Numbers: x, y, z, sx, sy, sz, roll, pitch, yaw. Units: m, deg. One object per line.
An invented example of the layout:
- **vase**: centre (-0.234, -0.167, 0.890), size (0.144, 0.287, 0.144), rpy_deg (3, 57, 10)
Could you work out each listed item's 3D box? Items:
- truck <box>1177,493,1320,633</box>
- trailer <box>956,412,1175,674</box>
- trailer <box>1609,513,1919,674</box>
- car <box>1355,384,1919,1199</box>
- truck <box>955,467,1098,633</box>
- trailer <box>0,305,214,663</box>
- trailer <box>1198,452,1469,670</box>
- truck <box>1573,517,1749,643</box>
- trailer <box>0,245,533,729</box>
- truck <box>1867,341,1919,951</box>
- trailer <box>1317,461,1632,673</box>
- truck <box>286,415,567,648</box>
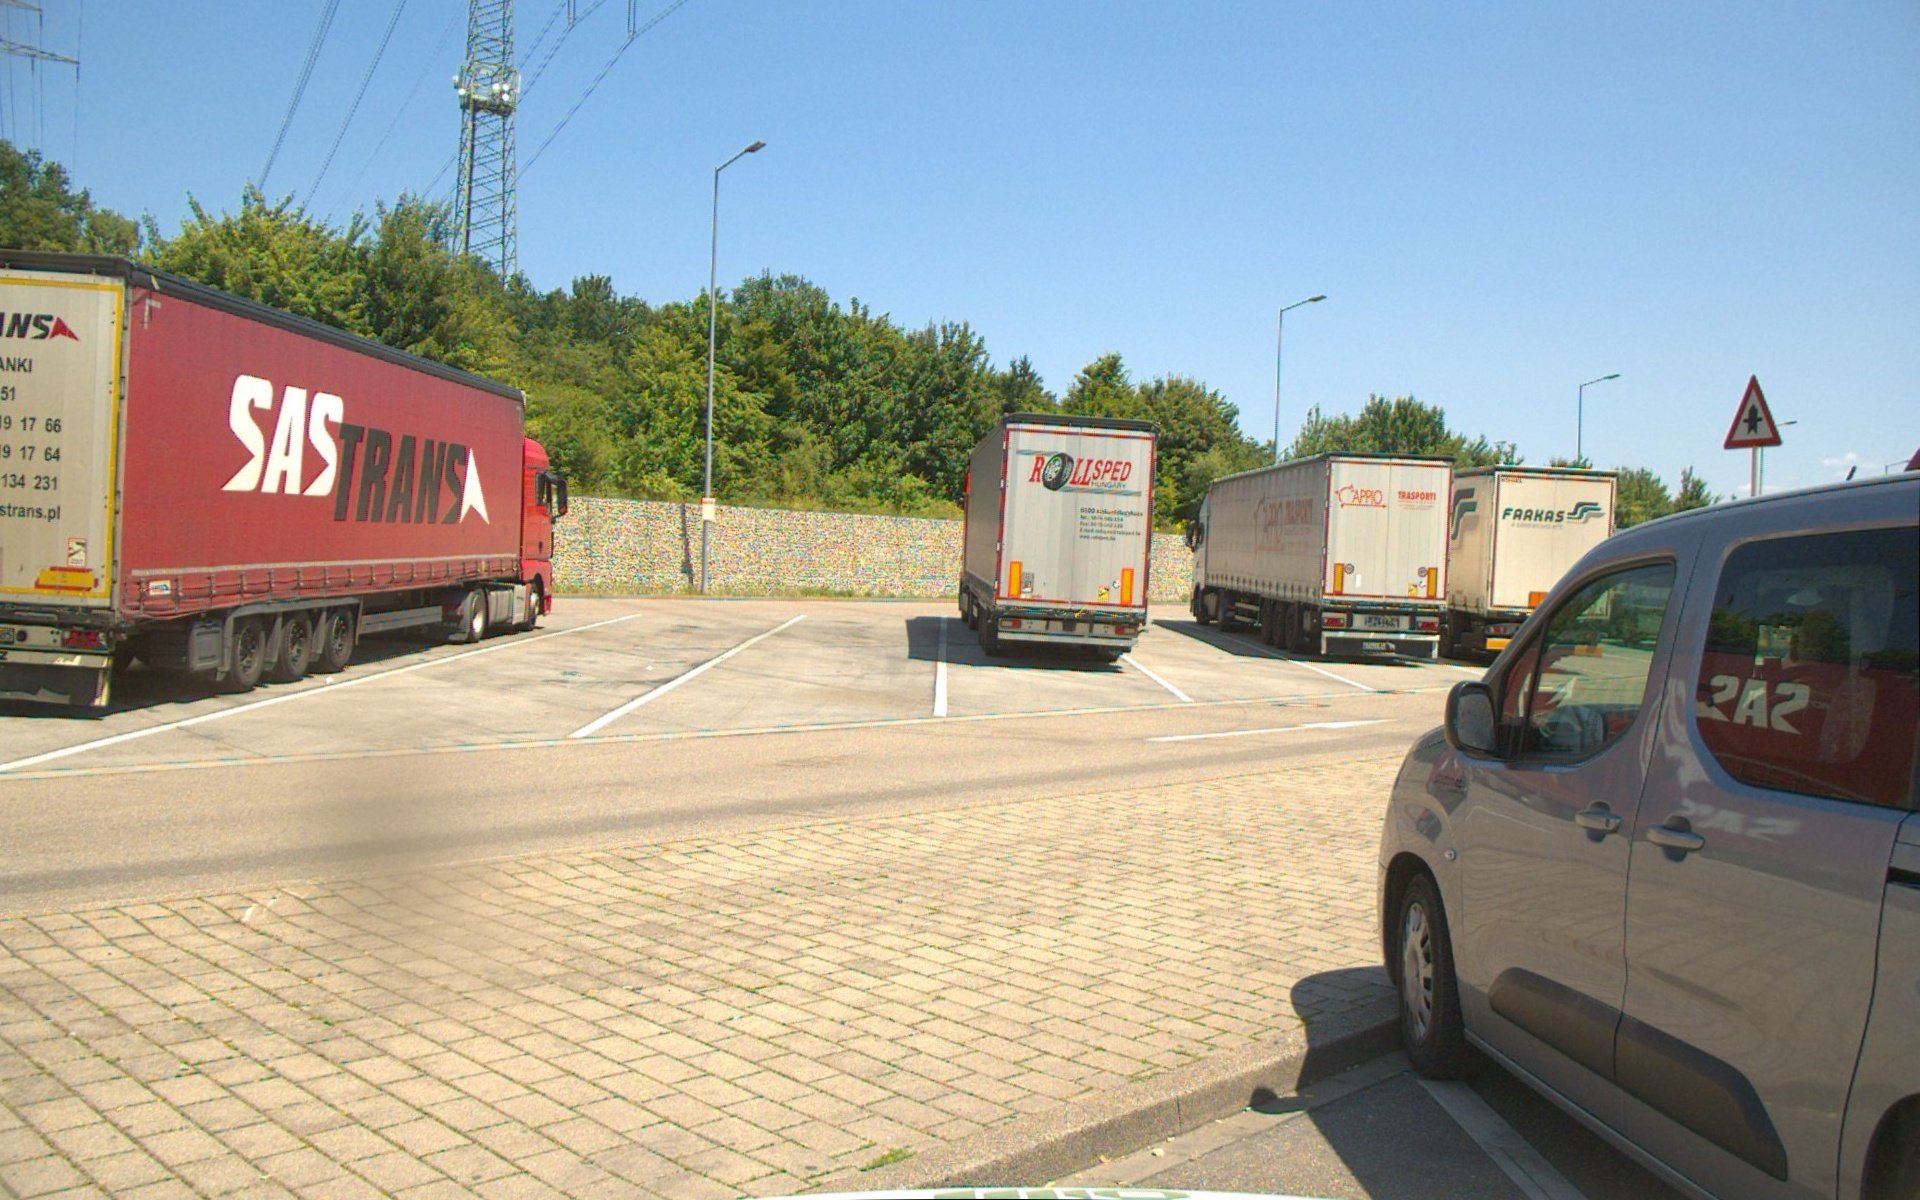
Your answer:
- **truck**: centre (8.065, -1.095, 46.954), size (2.804, 3.582, 5.900), rpy_deg (3, 2, -1)
- **trailer**: centre (1.669, -1.196, 33.646), size (3.070, 4.058, 14.393), rpy_deg (3, 2, -1)
- **trailer**: centre (21.855, -0.395, 44.509), size (2.754, 3.568, 14.395), rpy_deg (3, 2, -1)
- **car**: centre (2.449, 0.597, 3.860), size (1.832, 1.896, 4.174), rpy_deg (3, 1, -2)
- **truck**: centre (1.512, -1.241, 40.536), size (3.041, 3.628, 5.900), rpy_deg (3, 2, -1)
- **trailer**: centre (-12.542, -1.339, 17.717), size (2.739, 4.155, 14.131), rpy_deg (3, 2, -1)
- **trailer**: centre (8.182, -1.033, 38.854), size (2.754, 4.058, 14.395), rpy_deg (3, 2, -1)
- **truck**: centre (21.777, -0.699, 51.739), size (2.746, 3.582, 5.900), rpy_deg (3, 2, -1)
- **trailer**: centre (-8.715, -1.293, 21.440), size (2.735, 4.155, 14.131), rpy_deg (3, 2, -1)
- **truck**: centre (5.011, 0.193, 4.983), size (1.937, 2.668, 5.307), rpy_deg (1, 0, 4)
- **trailer**: centre (11.745, -0.938, 39.959), size (2.754, 4.058, 14.395), rpy_deg (3, 2, -1)
- **truck**: centre (-8.780, -1.152, 28.010), size (2.793, 3.385, 5.900), rpy_deg (3, 2, -1)
